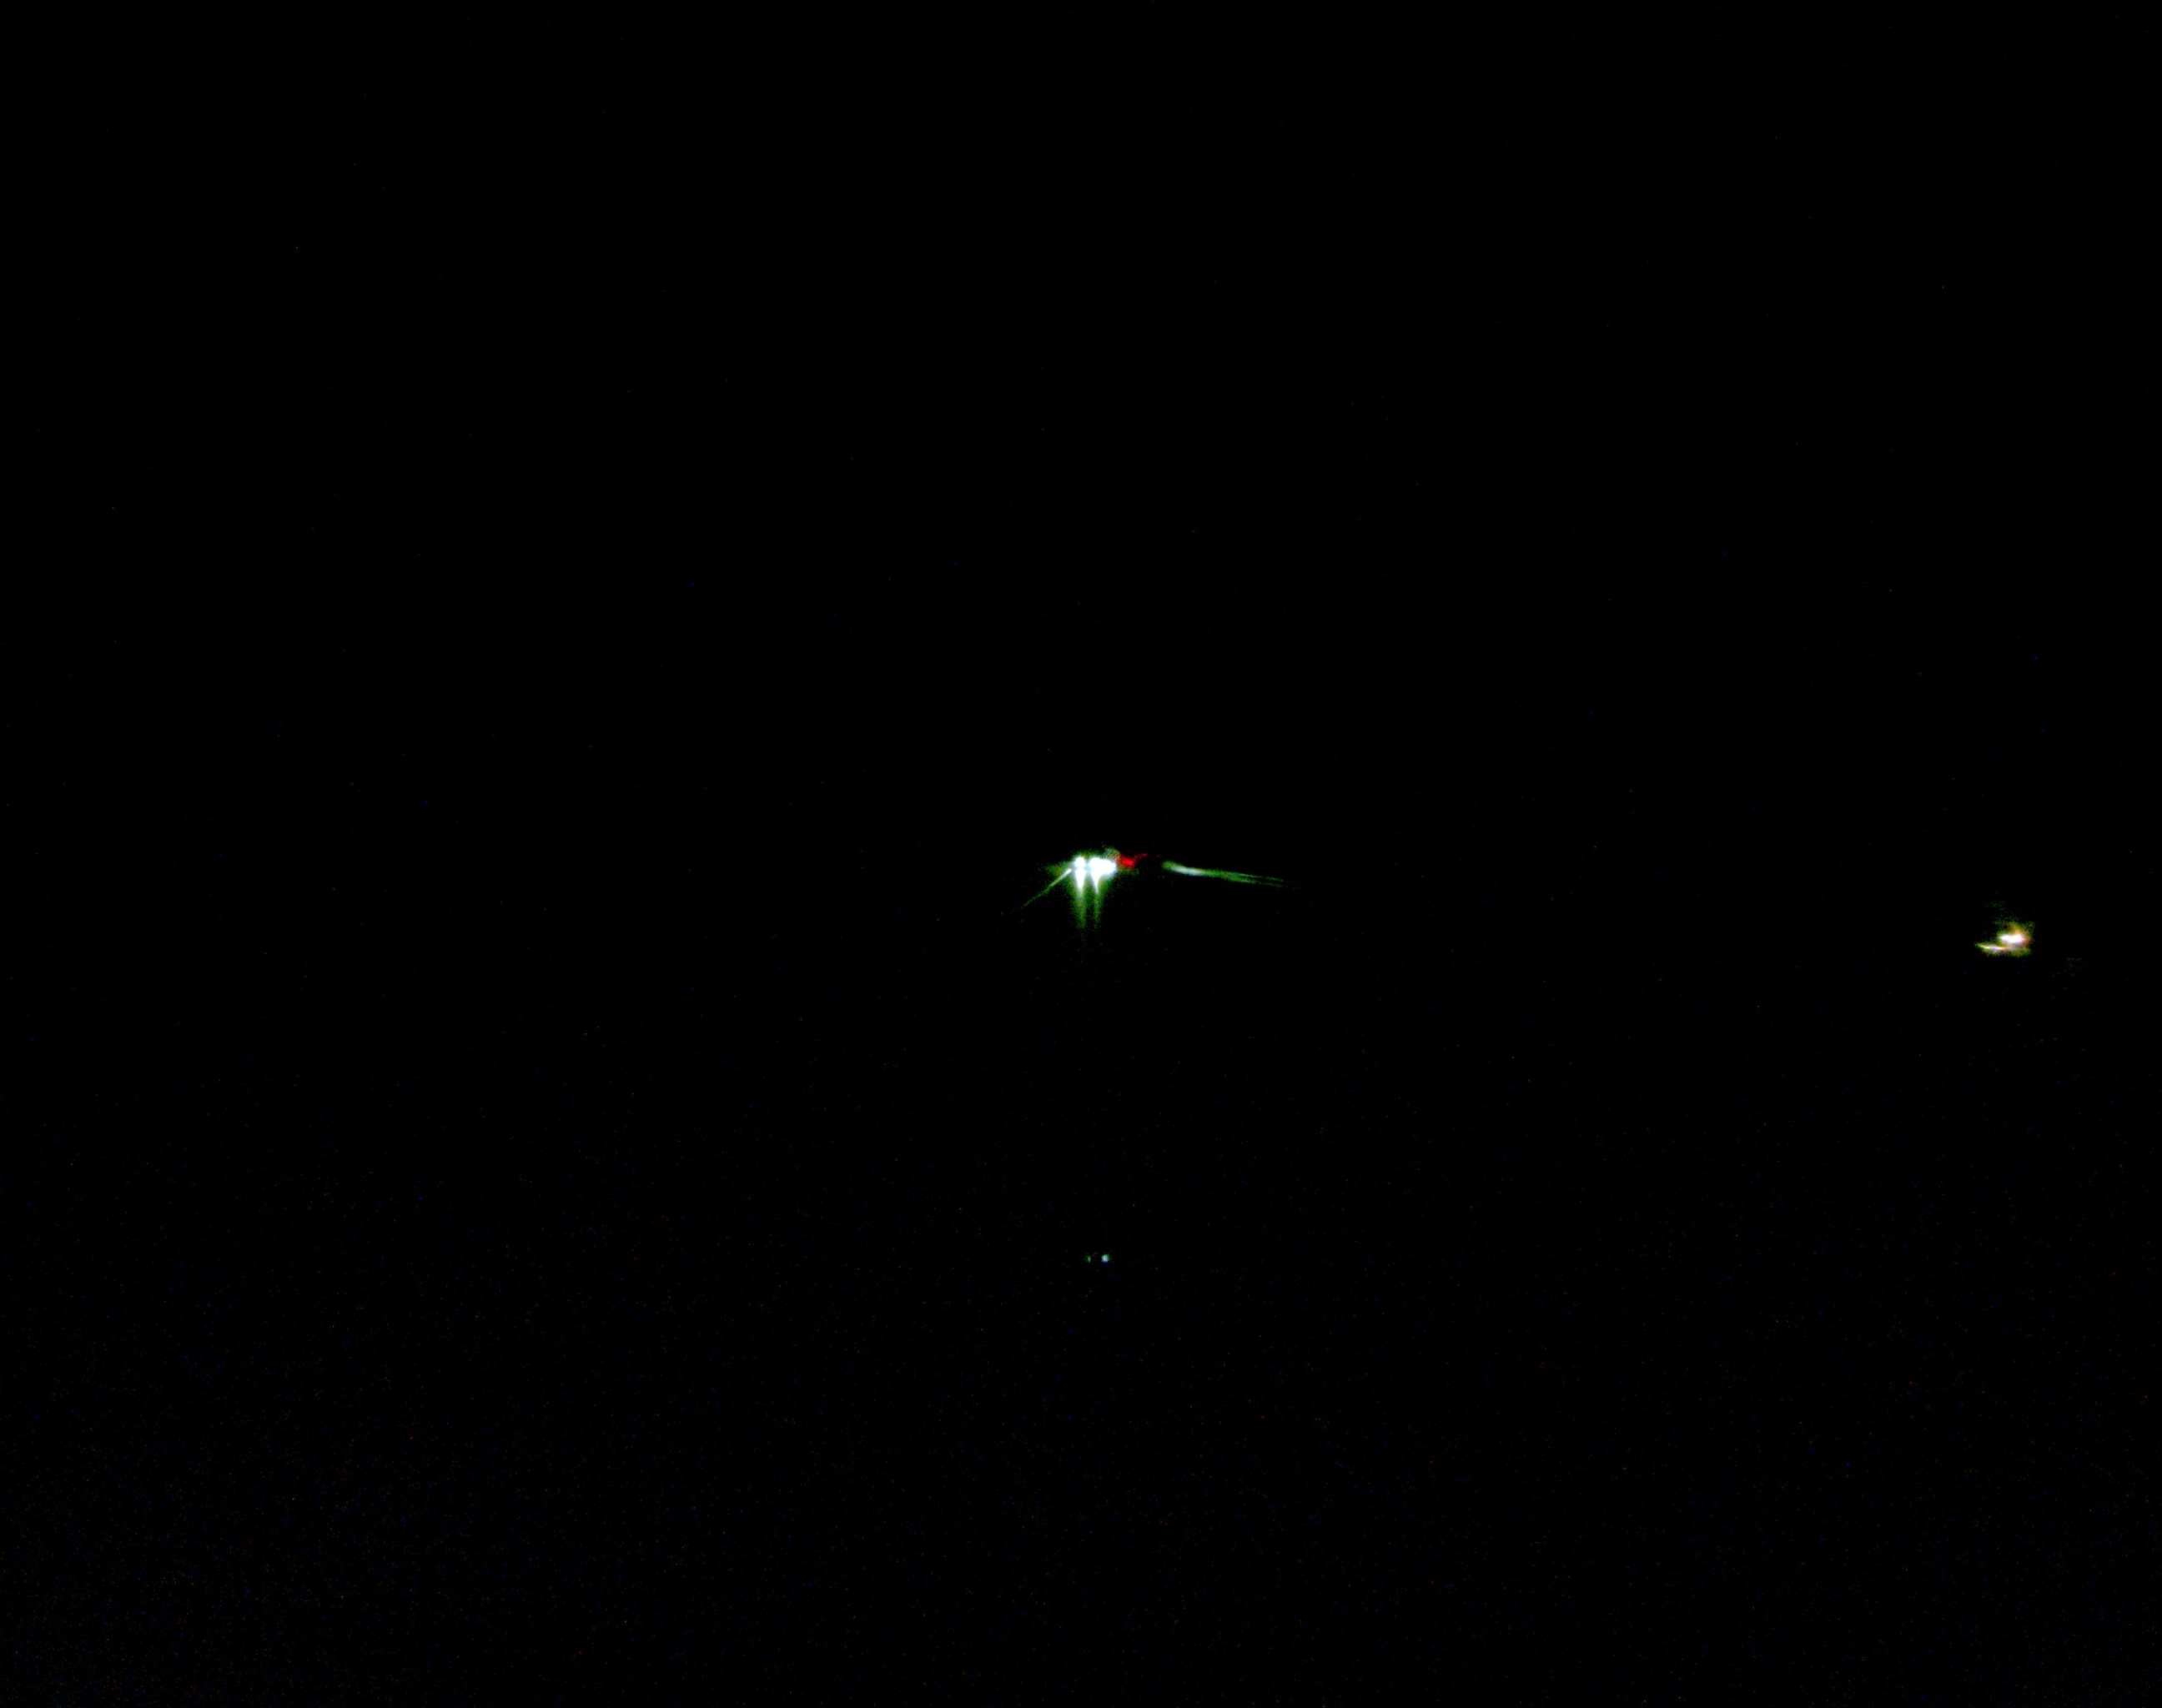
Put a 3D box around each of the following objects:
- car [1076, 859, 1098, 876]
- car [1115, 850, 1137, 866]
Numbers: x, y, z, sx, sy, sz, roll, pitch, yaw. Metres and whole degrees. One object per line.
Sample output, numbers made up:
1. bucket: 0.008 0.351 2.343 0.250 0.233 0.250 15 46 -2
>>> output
1. car: 0.712 1.459 84.300 1.998 1.724 4.001 2 0 5
2. car: 4.576 0.404 77.949 2.102 1.630 4.455 0 1 1
